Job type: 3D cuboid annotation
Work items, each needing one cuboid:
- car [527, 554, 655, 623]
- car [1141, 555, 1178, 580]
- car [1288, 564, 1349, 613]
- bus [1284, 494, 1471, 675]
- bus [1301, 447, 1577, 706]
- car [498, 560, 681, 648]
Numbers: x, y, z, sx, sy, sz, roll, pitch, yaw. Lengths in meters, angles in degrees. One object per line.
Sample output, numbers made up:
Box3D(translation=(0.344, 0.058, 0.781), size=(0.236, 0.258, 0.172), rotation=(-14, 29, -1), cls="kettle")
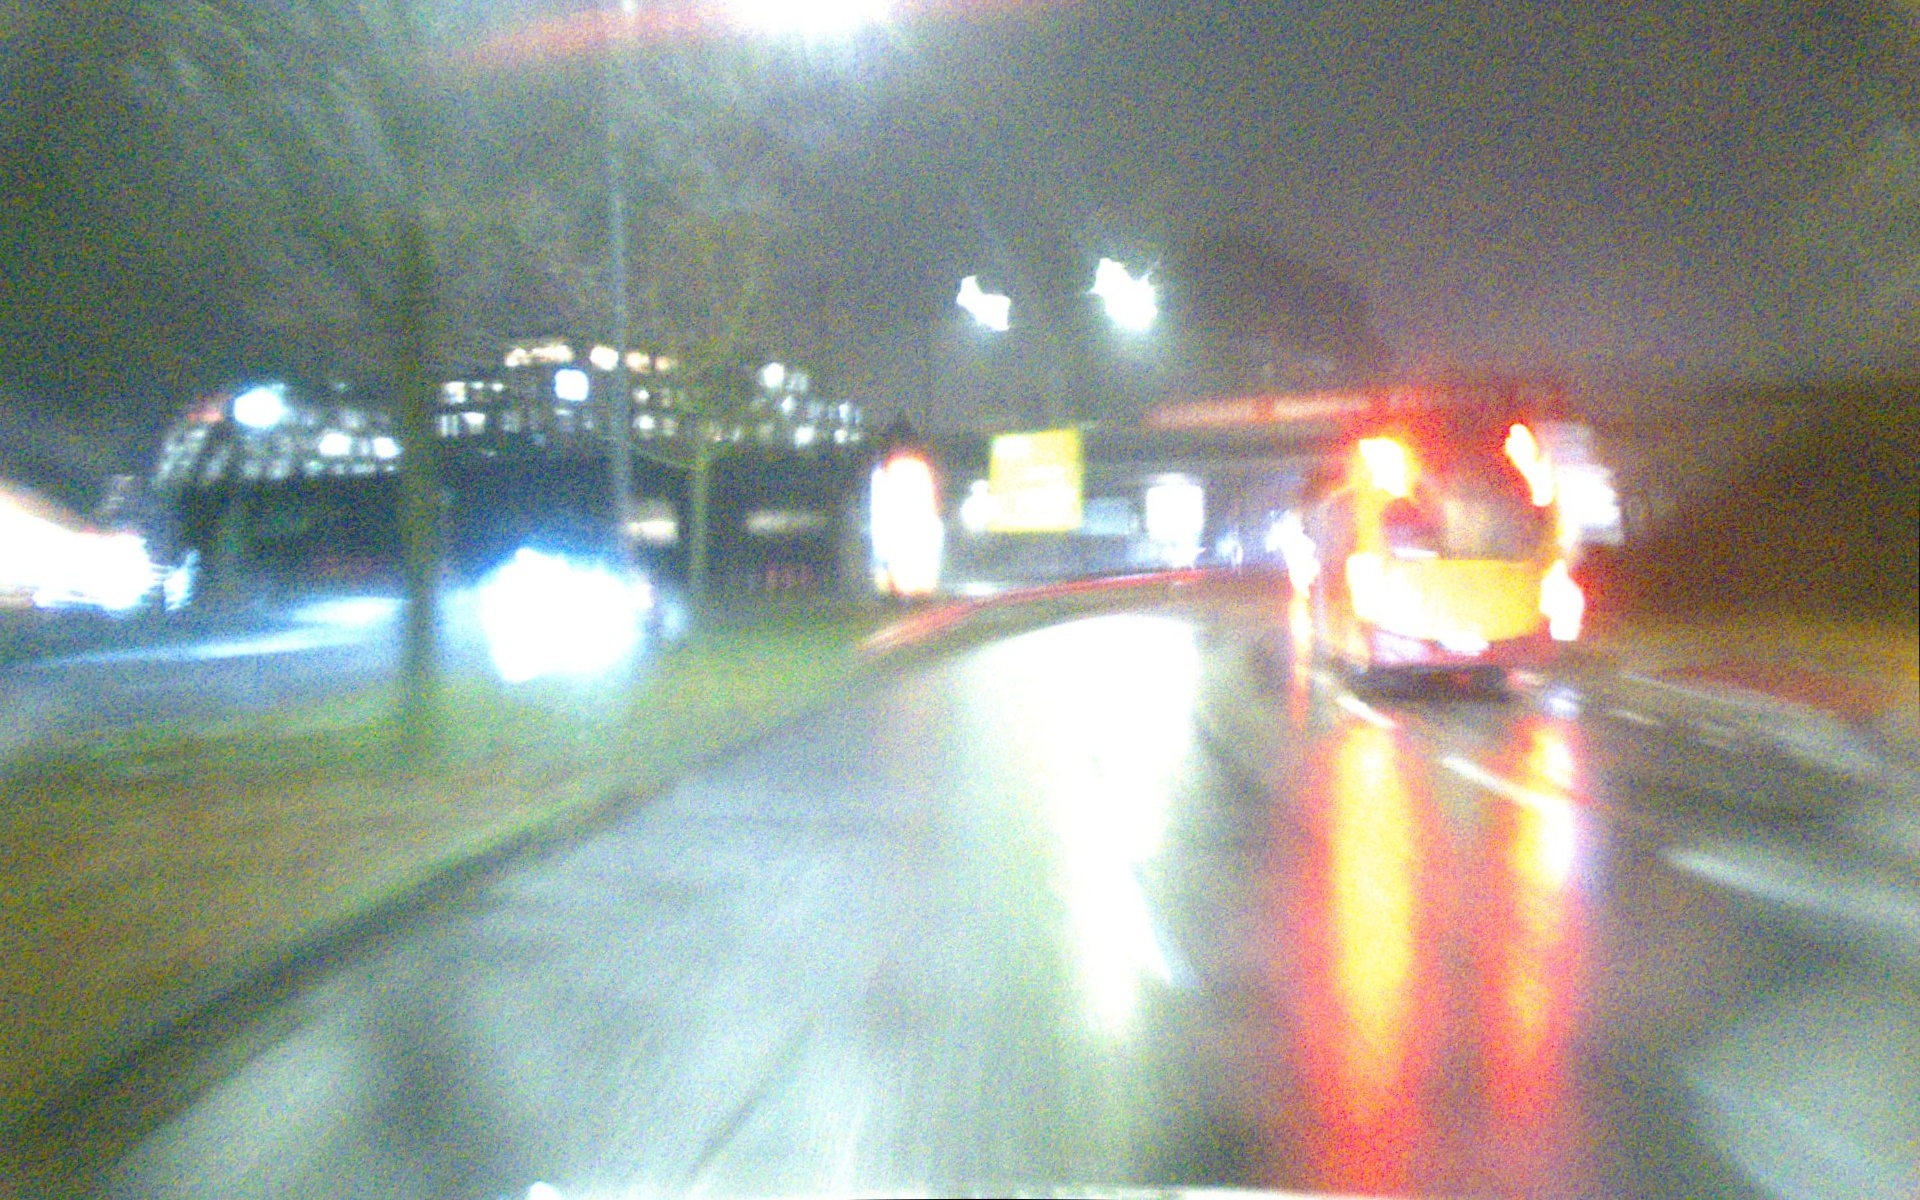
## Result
Box3D(translation=(-9.077, -0.311, 41.057), size=(1.951, 1.621, 4.003), rotation=(-1, 1, 5), cls="car")
Box3D(translation=(11.913, -1.935, 98.590), size=(1.533, 1.451, 3.955), rotation=(1, 2, 17), cls="car")
Box3D(translation=(13.507, -0.464, 62.109), size=(1.750, 1.713, 4.002), rotation=(0, 2, 19), cls="car")
Box3D(translation=(8.444, -0.289, 34.497), size=(2.978, 3.268, 9.058), rotation=(0, 0, 9), cls="bus")
Box3D(translation=(7.006, -0.302, 25.548), size=(2.978, 3.268, 9.058), rotation=(0, 0, 9), cls="bus")
Box3D(translation=(-6.941, 0.036, 31.517), size=(1.826, 1.489, 4.643), rotation=(-2, 1, 8), cls="car")
